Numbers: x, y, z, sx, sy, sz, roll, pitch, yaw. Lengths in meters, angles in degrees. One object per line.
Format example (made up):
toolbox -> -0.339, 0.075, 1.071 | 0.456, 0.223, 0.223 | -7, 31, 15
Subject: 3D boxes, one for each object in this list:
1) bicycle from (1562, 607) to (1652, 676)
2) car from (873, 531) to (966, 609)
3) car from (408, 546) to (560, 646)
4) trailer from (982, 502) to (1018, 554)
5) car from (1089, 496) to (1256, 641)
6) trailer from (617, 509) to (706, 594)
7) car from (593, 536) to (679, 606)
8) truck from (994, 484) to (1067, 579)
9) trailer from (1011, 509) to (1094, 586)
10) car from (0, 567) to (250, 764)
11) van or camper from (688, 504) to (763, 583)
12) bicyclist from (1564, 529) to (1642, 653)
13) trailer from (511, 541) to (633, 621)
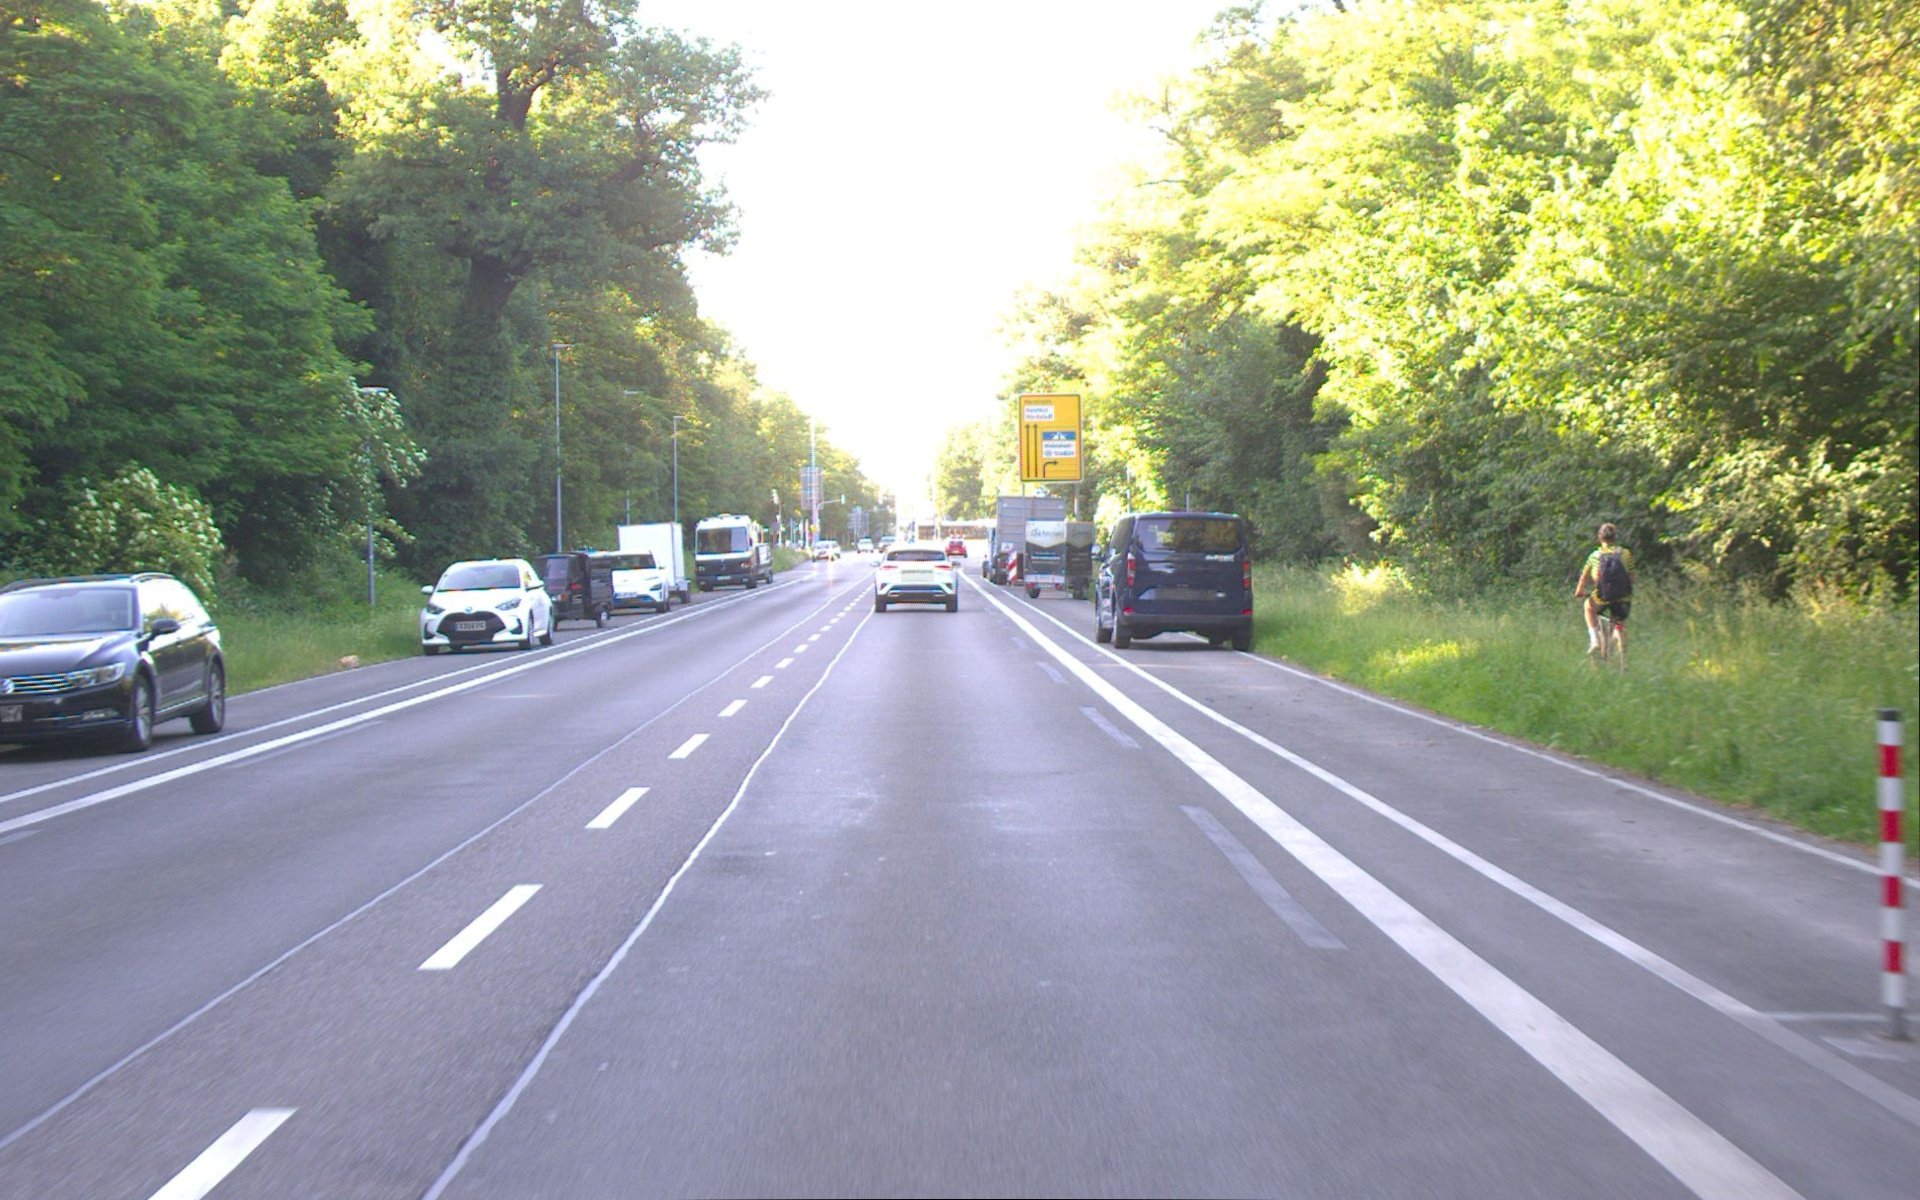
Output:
bicycle -> 7.047, 0.442, 37.496 | 0.591, 0.690, 1.997 | 0, 1, 0
car -> -0.897, -0.685, 76.394 | 1.993, 1.634, 4.000 | -1, 1, -1
car -> -7.732, -0.090, 56.187 | 1.867, 1.445, 4.071 | -4, 1, 0
trailer -> 1.712, -3.119, 148.794 | 1.500, 2.228, 4.550 | 1, 1, 0
car -> 3.096, -0.497, 51.037 | 2.113, 2.007, 5.040 | 1, 1, 0
trailer -> -8.455, -1.389, 97.708 | 2.075, 2.285, 3.486 | -2, 1, 1
car -> -7.881, -0.725, 83.988 | 1.814, 1.566, 4.207 | -3, 1, -3
truck -> 2.548, -2.471, 125.269 | 2.505, 3.355, 7.107 | 0, 1, 0
trailer -> 2.570, -1.453, 95.228 | 1.616, 2.105, 2.394 | 0, 1, 20
car -> -7.433, 0.496, 29.151 | 1.855, 1.459, 4.784 | -1, 1, -1
van or camper -> -8.735, -2.138, 128.545 | 2.302, 2.758, 5.557 | -3, 1, 0
bicyclist -> 6.997, -0.110, 37.440 | 0.610, 1.320, 1.175 | 0, 1, 0
trailer -> -7.836, -0.397, 69.535 | 1.397, 1.568, 2.672 | -1, 1, 20
